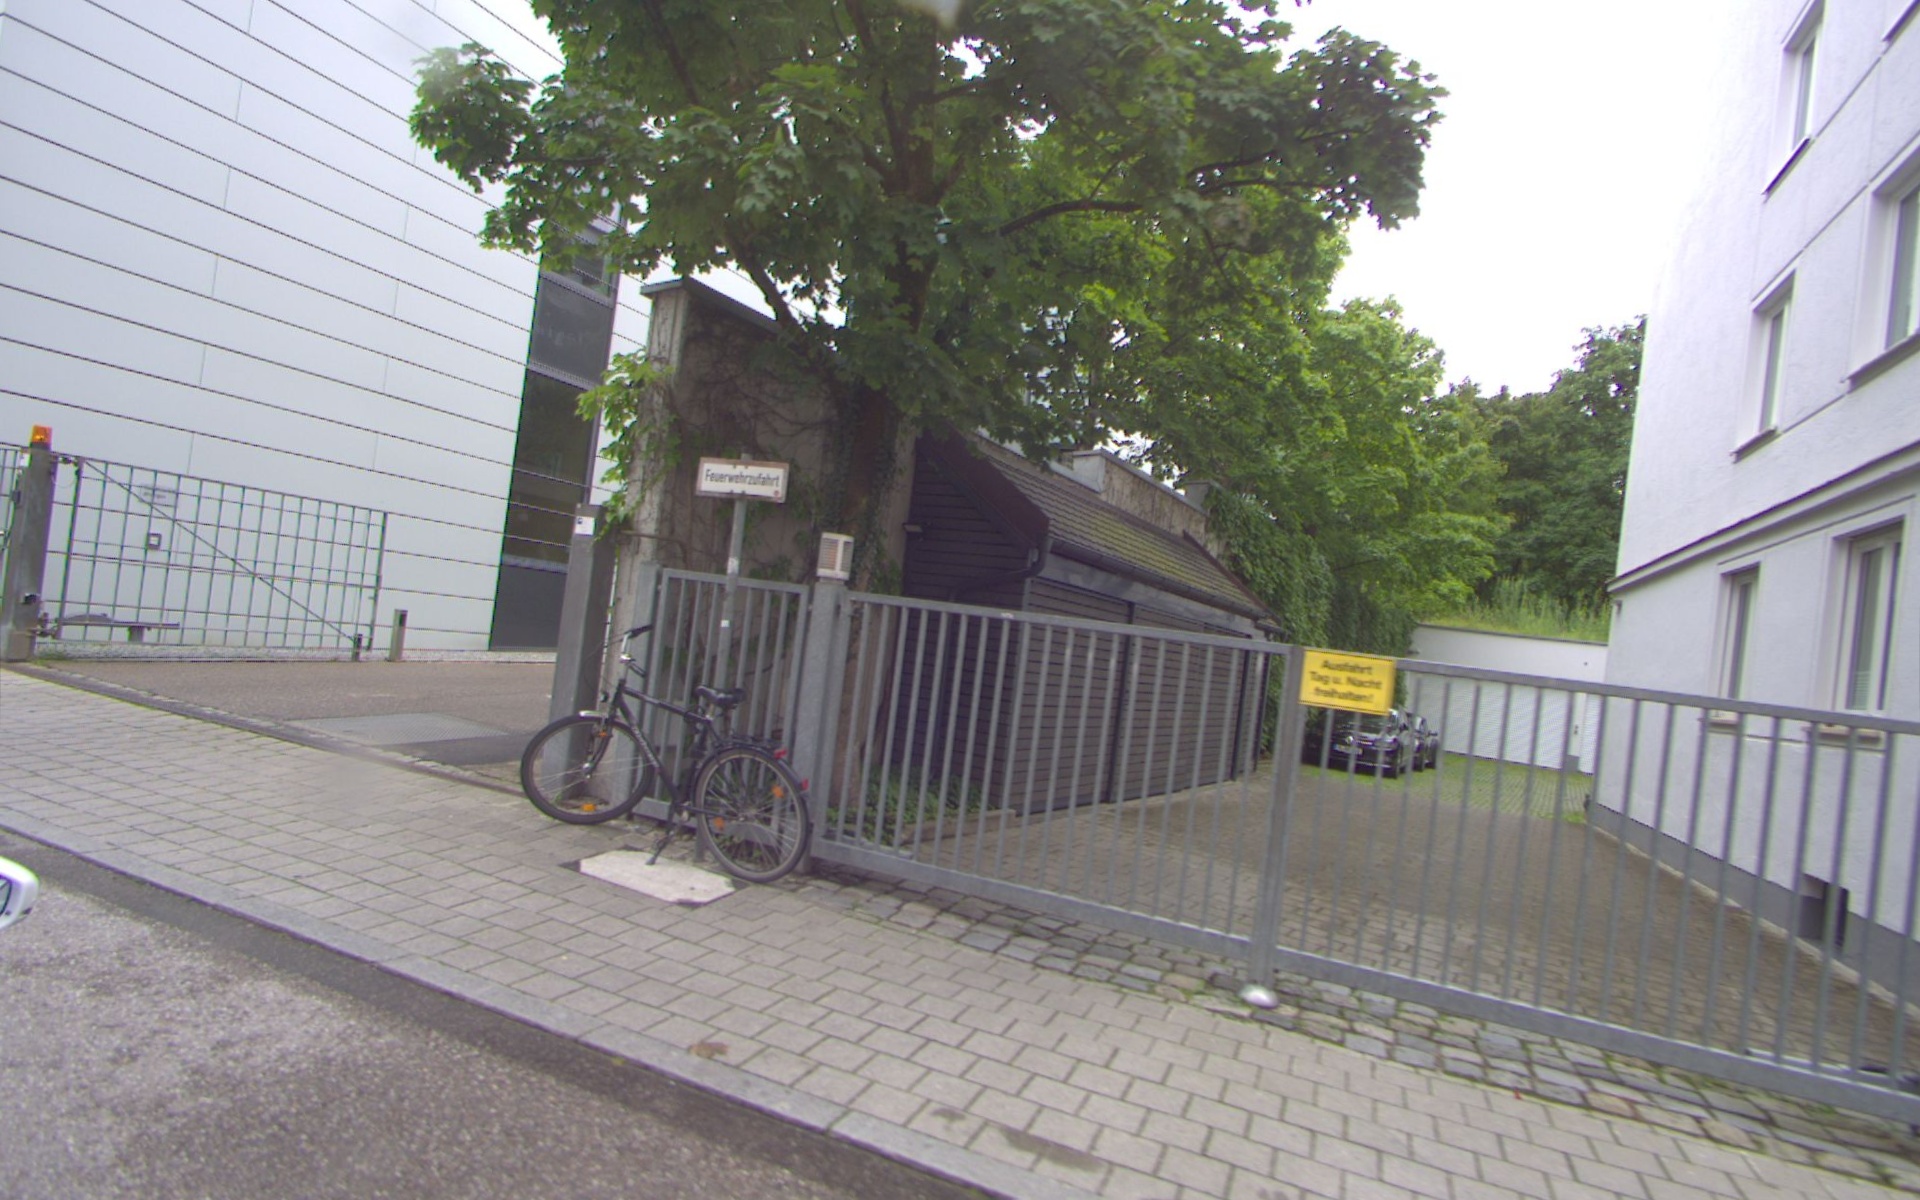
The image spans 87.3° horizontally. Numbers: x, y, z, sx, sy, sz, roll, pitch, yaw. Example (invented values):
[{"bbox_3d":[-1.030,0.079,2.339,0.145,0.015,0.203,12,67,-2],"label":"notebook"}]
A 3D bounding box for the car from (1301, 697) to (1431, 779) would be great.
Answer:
[{"bbox_3d":[8.258,2.739,20.256,1.669,1.248,3.995,7,-3,32],"label":"car"}]

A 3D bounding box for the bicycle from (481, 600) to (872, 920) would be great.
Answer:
[{"bbox_3d":[-1.513,0.769,5.338,1.800,1.212,0.710,10,1,23],"label":"bicycle"}]

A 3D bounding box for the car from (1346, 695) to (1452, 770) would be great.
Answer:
[{"bbox_3d":[10.779,3.206,24.535,1.676,1.446,3.995,7,-3,32],"label":"car"}]
